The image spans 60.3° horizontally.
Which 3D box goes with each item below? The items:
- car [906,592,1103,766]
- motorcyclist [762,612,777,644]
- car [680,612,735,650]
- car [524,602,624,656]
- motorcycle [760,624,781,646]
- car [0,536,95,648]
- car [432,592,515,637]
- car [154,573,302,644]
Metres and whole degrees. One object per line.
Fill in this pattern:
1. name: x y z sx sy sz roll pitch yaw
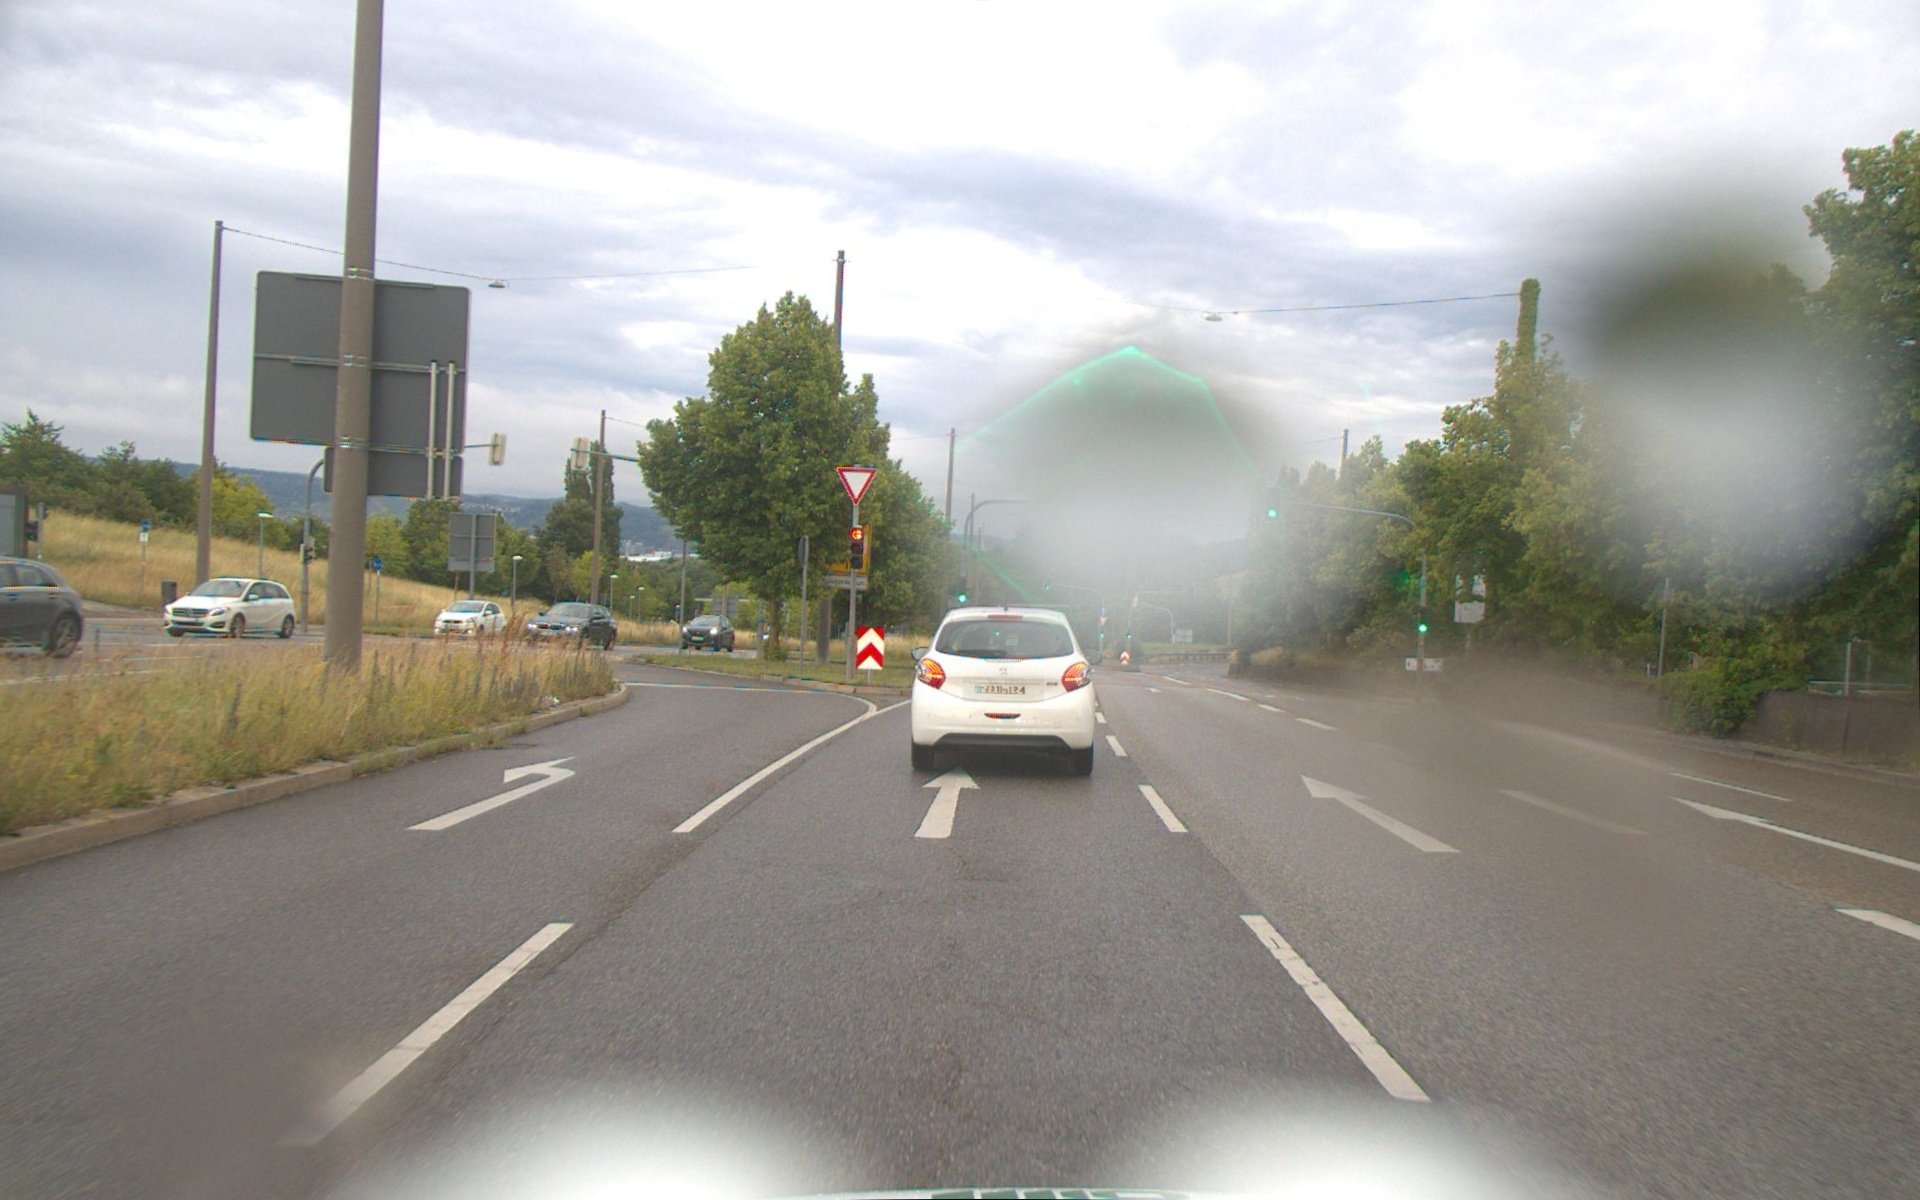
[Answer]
1. car: 0.501 0.706 16.050 1.672 1.465 3.692 1 -1 4
2. motorcyclist: -9.747 1.437 84.592 0.570 1.624 0.643 2 0 3
3. car: -11.034 1.382 72.466 1.506 1.530 3.663 3 -2 4
4. car: -12.022 0.930 51.805 1.714 1.530 4.465 3 -1 4
5. motorcycle: -9.748 1.799 85.007 0.604 1.068 2.503 2 0 3
6. car: -14.145 -0.143 23.087 1.730 1.544 4.001 3 -2 4
7. car: -17.871 0.563 60.889 1.617 1.488 3.775 3 -2 4
8. car: -19.197 0.272 43.589 1.730 1.677 4.179 3 -2 4
